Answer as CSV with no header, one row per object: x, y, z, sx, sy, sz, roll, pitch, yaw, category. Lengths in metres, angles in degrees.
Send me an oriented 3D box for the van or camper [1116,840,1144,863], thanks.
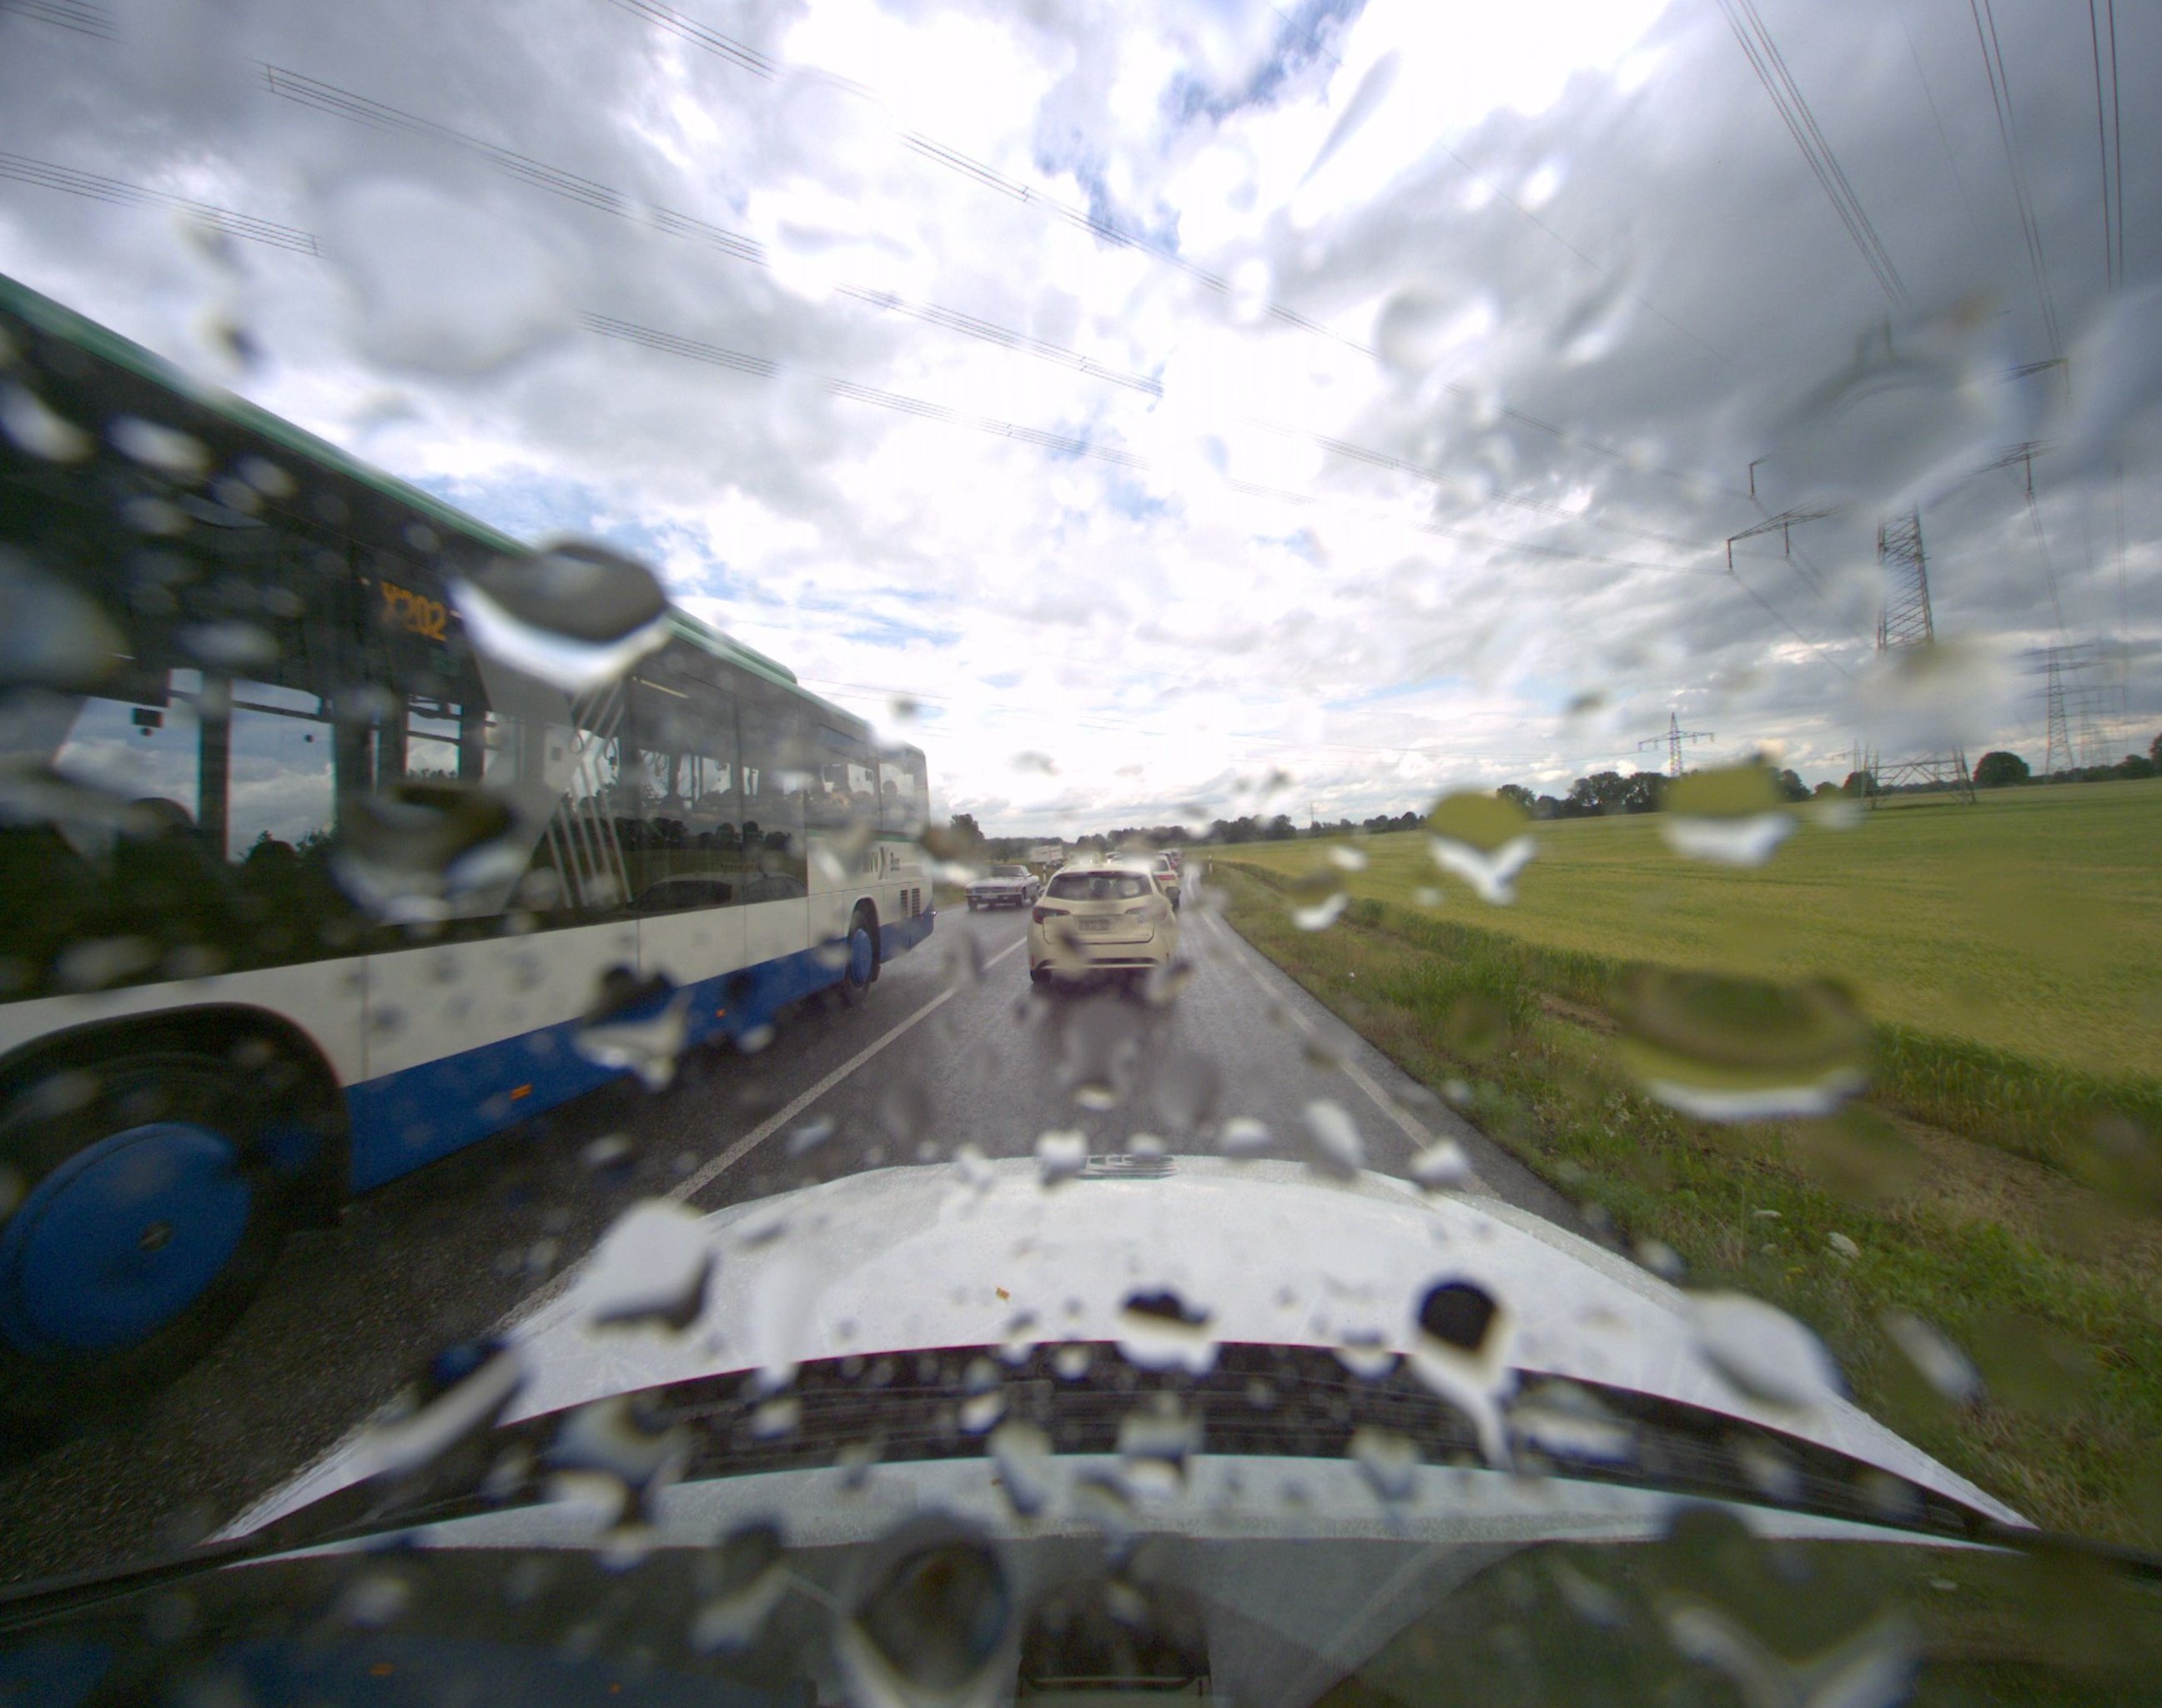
6.417,-0.270,108.052,2.534,2.896,6.727,-1,0,-7,van or camper

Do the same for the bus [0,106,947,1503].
-3.723,-0.104,5.966,2.747,3.298,12.511,-1,0,3,bus

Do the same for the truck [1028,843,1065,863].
-6.035,-0.128,141.149,3.031,3.209,8.155,0,-2,-29,truck

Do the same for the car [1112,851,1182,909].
1.990,0.696,23.939,1.832,1.492,4.615,-1,0,6,car

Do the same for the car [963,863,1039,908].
-2.437,0.944,25.645,1.711,1.251,4.004,-1,-1,4,car

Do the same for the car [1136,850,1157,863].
7.401,0.292,92.253,1.779,1.413,3.733,-1,-1,-3,car

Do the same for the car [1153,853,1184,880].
5.065,0.722,46.726,1.604,1.413,3.746,-1,-1,8,car

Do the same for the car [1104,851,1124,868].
3.628,0.590,89.420,1.839,1.855,4.443,-1,-1,-2,car

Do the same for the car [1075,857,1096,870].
0.568,1.343,112.569,1.851,1.631,4.513,-3,0,-13,car

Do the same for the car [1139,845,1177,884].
3.481,0.486,36.971,1.605,1.659,3.743,-1,-1,5,car

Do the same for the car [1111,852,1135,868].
3.844,0.582,75.032,1.840,1.388,4.283,-1,-1,-2,car

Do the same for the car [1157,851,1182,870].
7.187,0.546,65.844,1.949,1.413,4.400,-1,-1,7,car

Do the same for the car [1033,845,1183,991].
0.443,0.737,10.745,1.605,1.562,3.743,-1,-1,5,car

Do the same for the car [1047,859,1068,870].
-3.711,1.616,126.239,1.857,1.448,4.059,-3,0,-23,car
